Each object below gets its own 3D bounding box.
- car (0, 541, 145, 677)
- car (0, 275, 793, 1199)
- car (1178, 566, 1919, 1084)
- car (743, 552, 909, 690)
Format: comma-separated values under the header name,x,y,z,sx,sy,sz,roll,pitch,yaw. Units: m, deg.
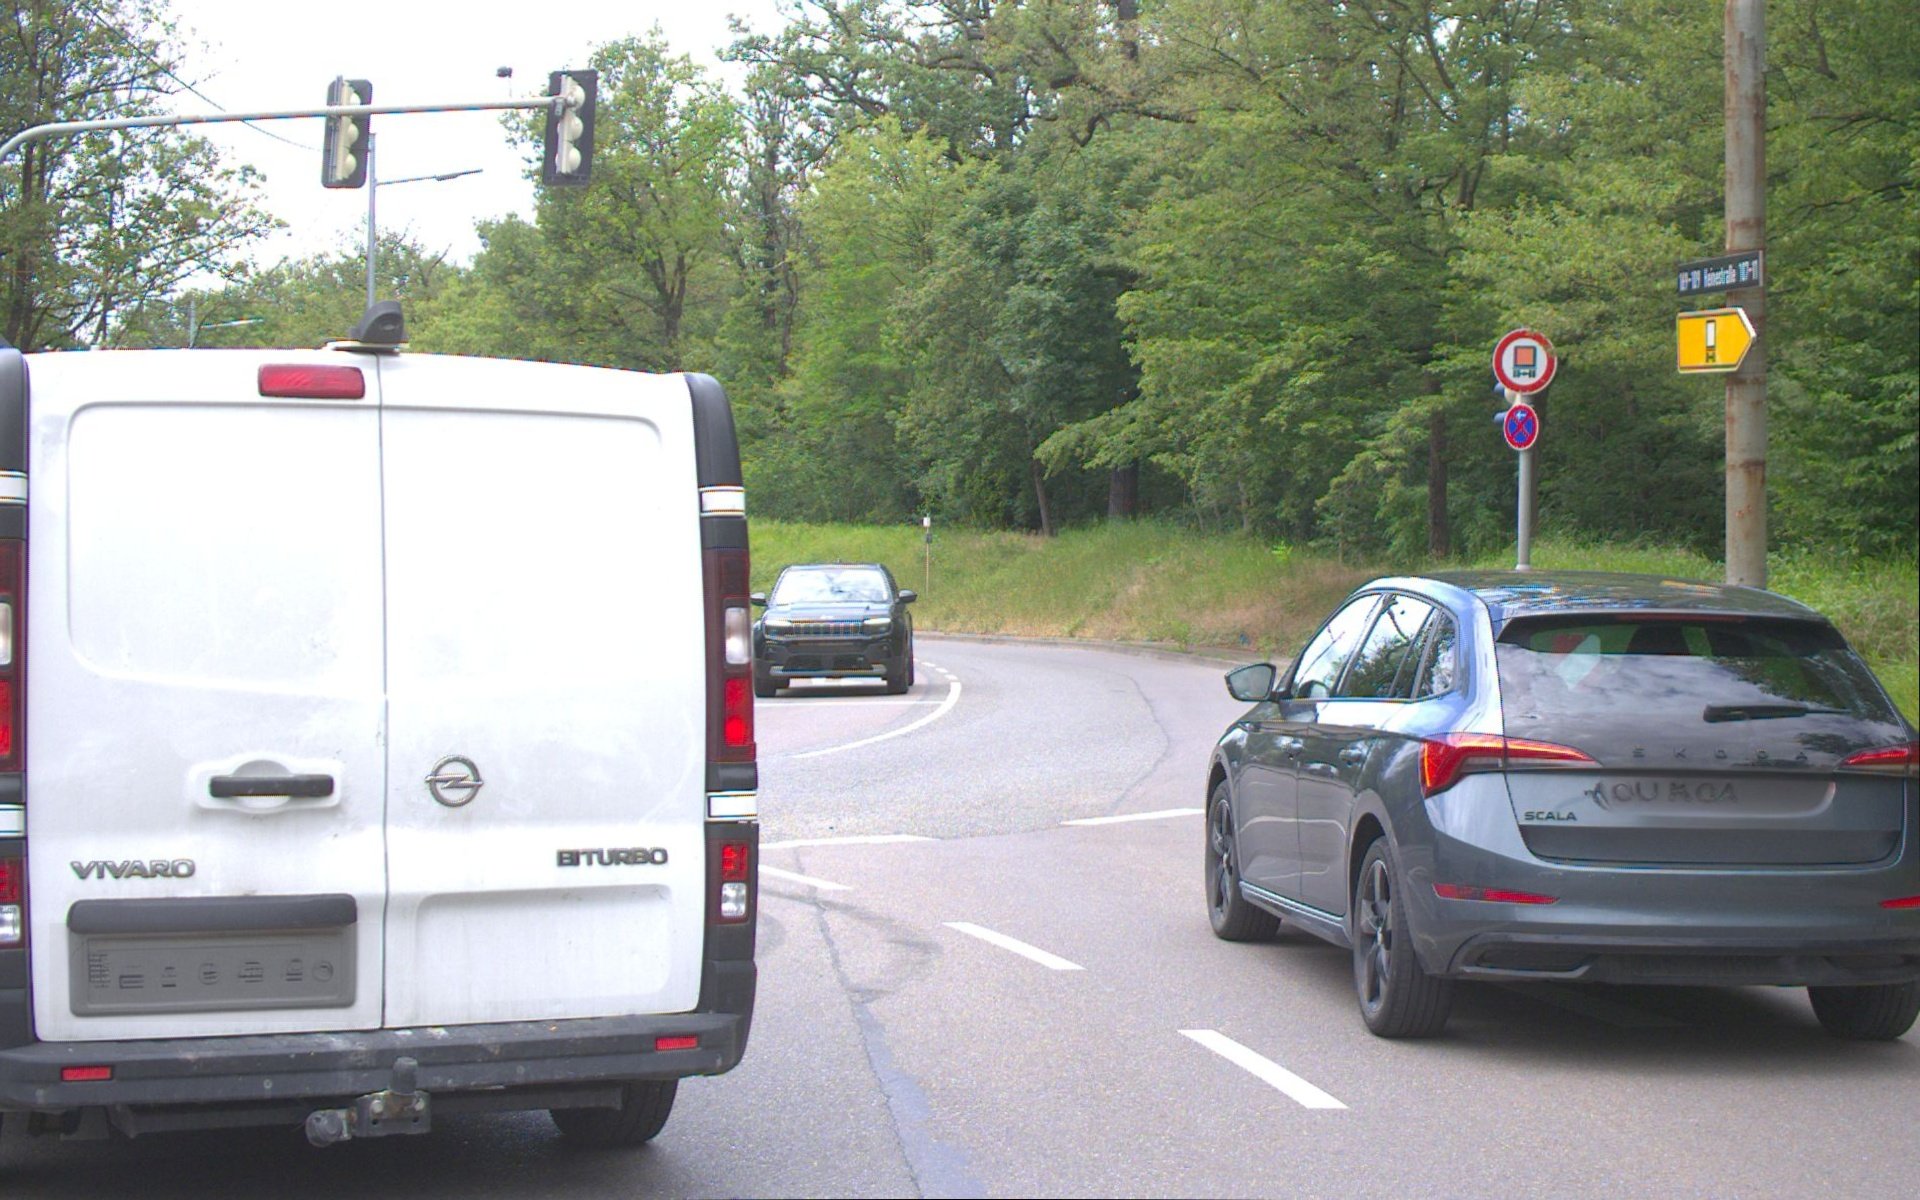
name,x,y,z,sx,sy,sz,roll,pitch,yaw
car,-11.844,0.077,40.833,4.085,1.548,1.855,1,1,-17
car,-2.189,0.308,9.463,1.916,2.046,4.615,0,1,-24
car,1.998,0.638,11.924,1.792,1.445,4.001,1,1,-6
car,-1.631,0.212,40.724,1.815,1.501,4.001,-1,1,-4
